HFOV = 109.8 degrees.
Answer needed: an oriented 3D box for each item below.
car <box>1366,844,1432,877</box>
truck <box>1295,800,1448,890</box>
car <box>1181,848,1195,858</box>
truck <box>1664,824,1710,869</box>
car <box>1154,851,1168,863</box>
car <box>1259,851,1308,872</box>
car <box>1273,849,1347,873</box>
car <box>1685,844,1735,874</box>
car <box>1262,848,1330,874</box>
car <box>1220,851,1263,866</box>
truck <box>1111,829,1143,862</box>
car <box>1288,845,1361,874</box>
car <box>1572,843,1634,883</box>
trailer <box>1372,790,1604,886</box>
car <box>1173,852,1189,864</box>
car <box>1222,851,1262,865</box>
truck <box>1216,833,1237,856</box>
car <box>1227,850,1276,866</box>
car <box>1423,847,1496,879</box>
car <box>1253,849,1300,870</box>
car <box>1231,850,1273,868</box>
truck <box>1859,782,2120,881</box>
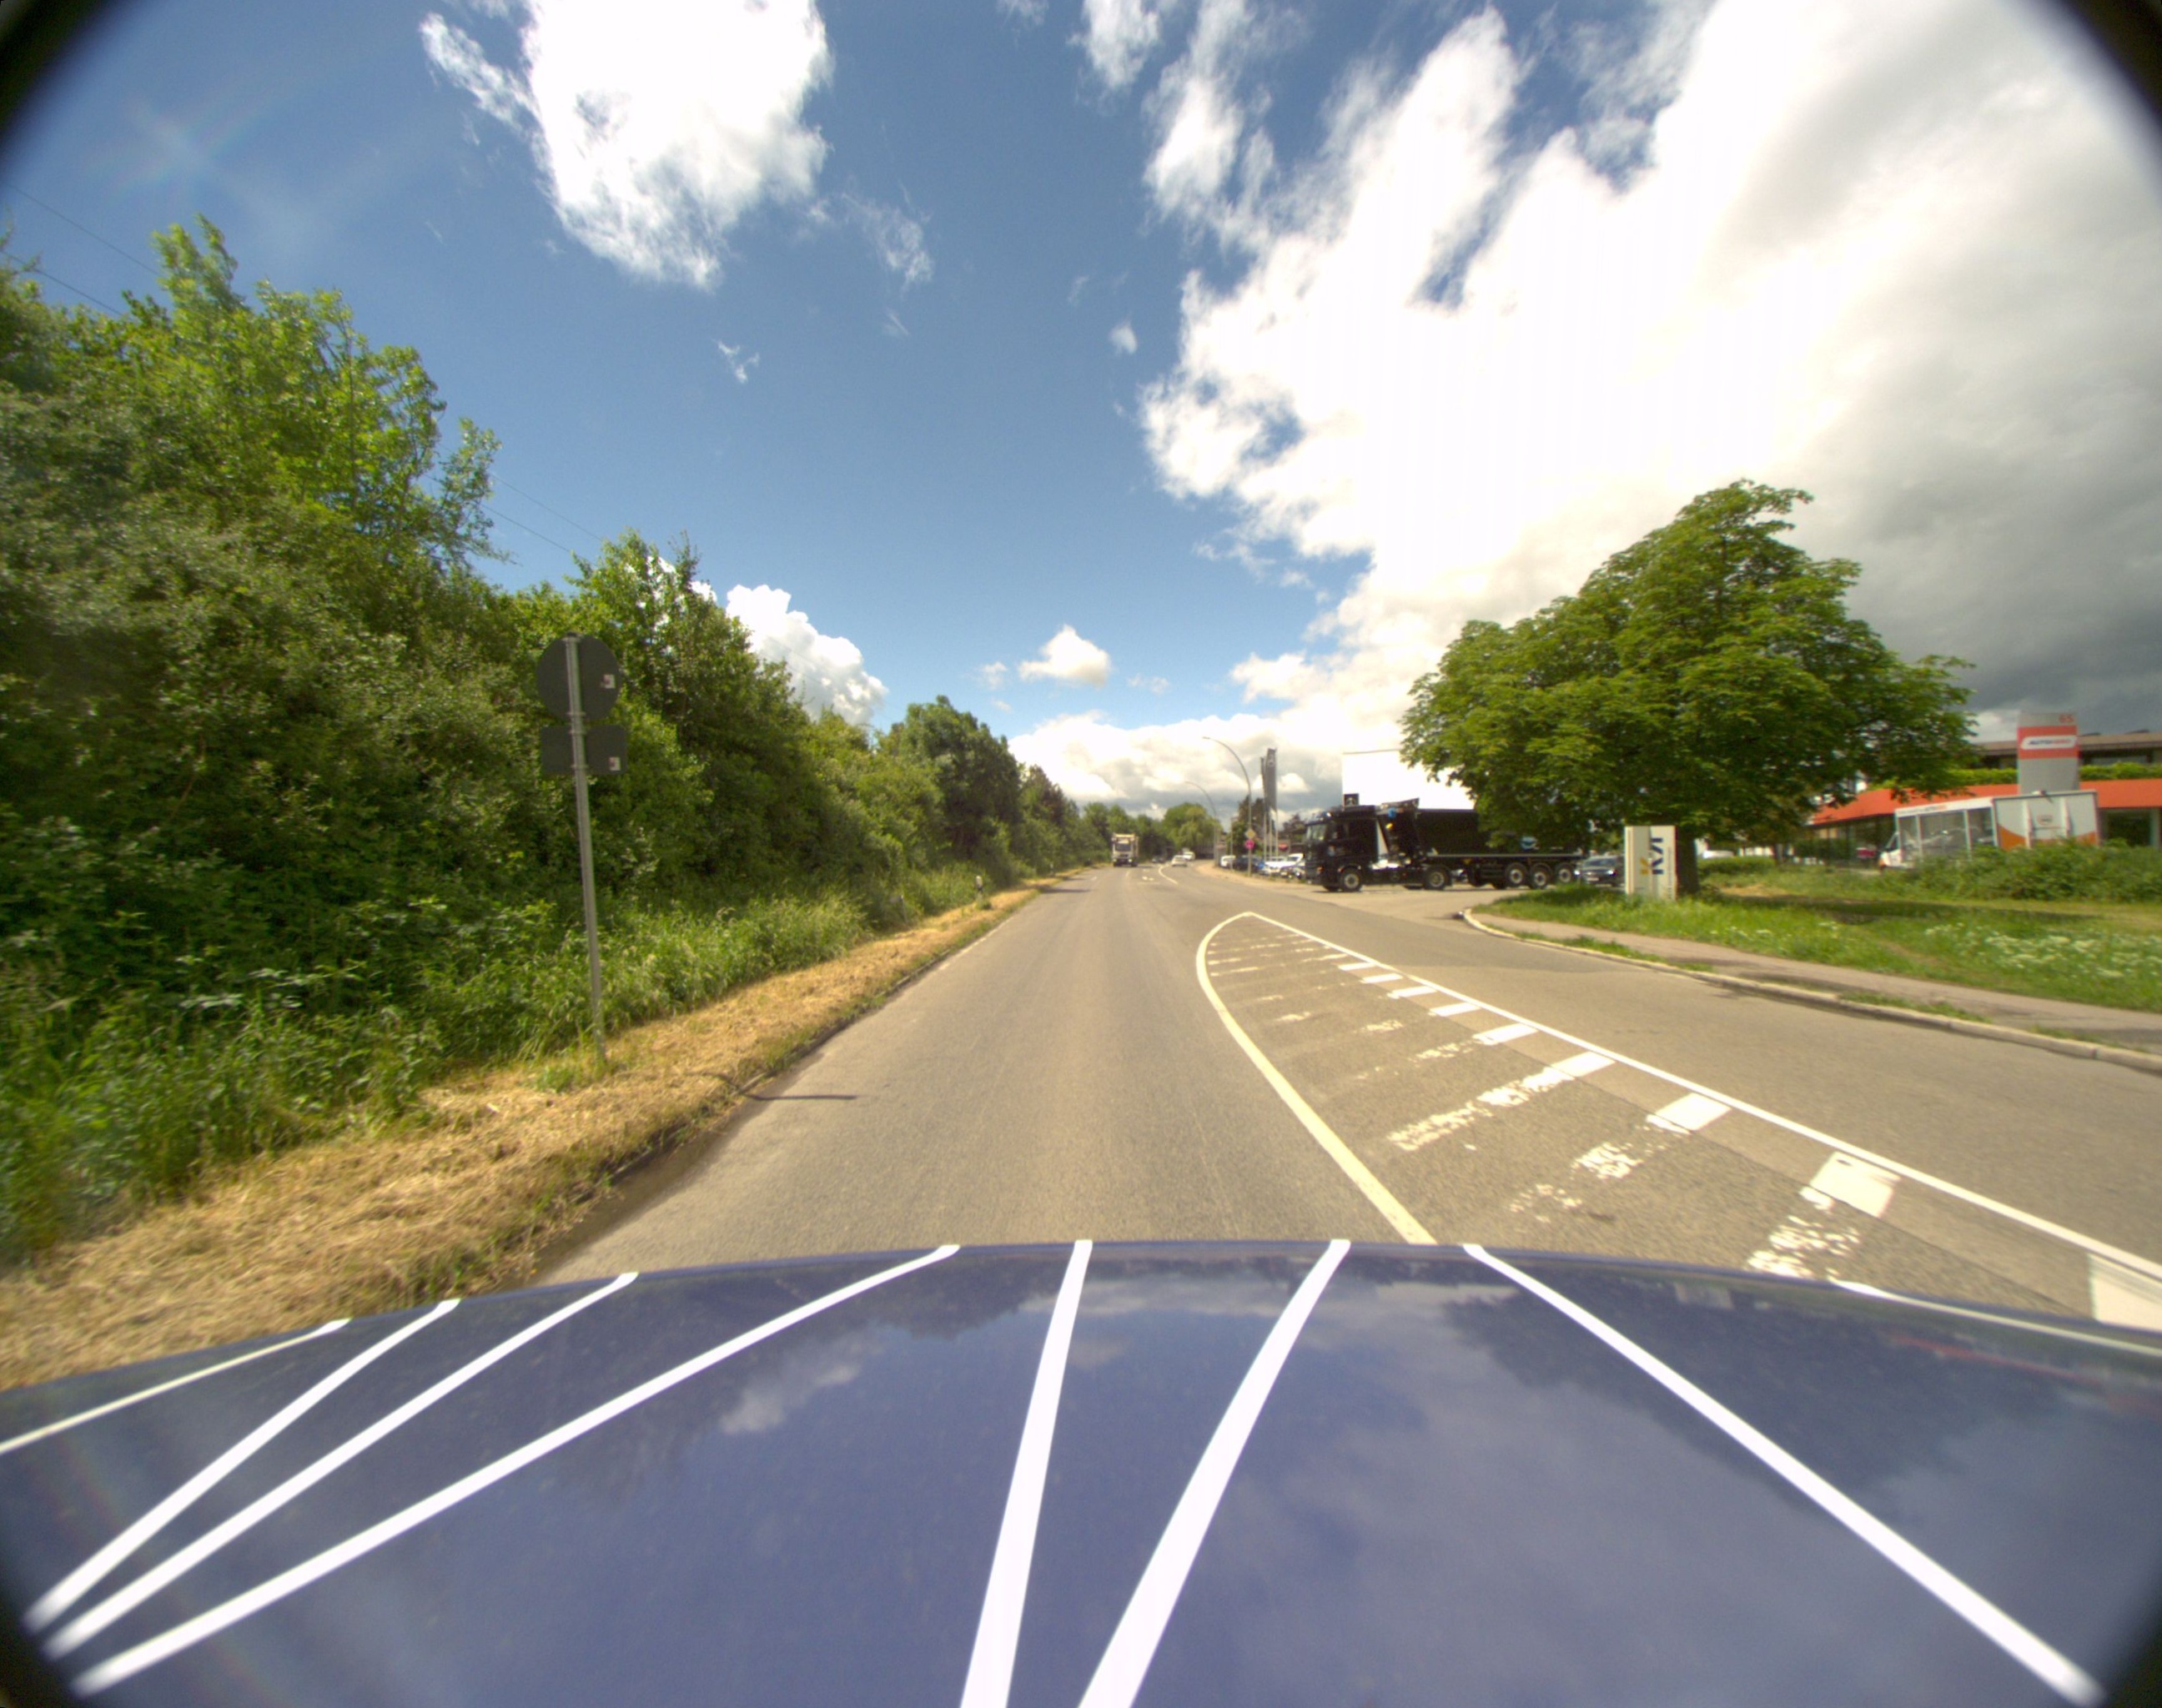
[{"bbox_3d":[17.314,0.320,41.663,1.935,1.711,4.601,0,0,4],"label":"car"},{"bbox_3d":[12.698,-0.385,33.551,5.569,3.802,2.983,0,1,-2],"label":"truck"},{"bbox_3d":[21.687,-0.165,153.665,1.951,2.002,4.005,1,1,19],"label":"car"},{"bbox_3d":[49.458,-0.610,62.174,2.440,3.403,7.837,0,1,35],"label":"truck"},{"bbox_3d":[13.177,0.514,125.062,1.952,2.002,4.004,0,1,12],"label":"car"},{"bbox_3d":[15.581,0.556,58.281,1.868,1.557,4.531,-1,-1,40],"label":"car"},{"bbox_3d":[14.538,0.458,48.229,4.334,1.457,1.793,0,-1,-25],"label":"car"},{"bbox_3d":[40.066,0.279,48.487,1.828,1.835,4.683,0,1,31],"label":"car"},{"bbox_3d":[14.695,0.458,51.821,4.305,1.668,1.932,0,1,-28],"label":"car"},{"bbox_3d":[20.136,0.566,95.331,4.944,1.827,1.897,1,1,42],"label":"car"},{"bbox_3d":[5.634,-1.018,91.727,2.902,3.746,9.641,0,1,9],"label":"truck"},{"bbox_3d":[14.331,0.326,44.540,4.752,1.595,1.983,-1,0,-43],"label":"car"},{"bbox_3d":[26.358,0.418,38.296,1.952,1.865,4.126,1,1,43],"label":"car"},{"bbox_3d":[18.523,-0.688,34.742,9.471,4.060,3.315,0,1,-13],"label":"trailer"},{"bbox_3d":[13.333,0.520,101.306,1.997,1.442,4.429,2,1,8],"label":"car"},{"bbox_3d":[17.721,0.415,83.494,3.943,1.485,1.808,1,1,45],"label":"car"},{"bbox_3d":[30.169,-1.865,157.393,2.976,4.634,8.191,1,1,21],"label":"truck"},{"bbox_3d":[17.906,0.411,80.037,4.623,1.615,2.067,-1,-1,40],"label":"car"},{"bbox_3d":[20.315,0.426,41.009,1.802,1.592,4.765,1,0,3],"label":"car"},{"bbox_3d":[16.060,0.441,62.223,1.889,1.659,4.580,-1,0,40],"label":"car"},{"bbox_3d":[16.623,0.480,73.986,1.806,1.615,4.344,-4,1,-22],"label":"car"},{"bbox_3d":[32.415,-0.699,27.751,2.658,3.031,8.606,1,0,25],"label":"truck"}]
